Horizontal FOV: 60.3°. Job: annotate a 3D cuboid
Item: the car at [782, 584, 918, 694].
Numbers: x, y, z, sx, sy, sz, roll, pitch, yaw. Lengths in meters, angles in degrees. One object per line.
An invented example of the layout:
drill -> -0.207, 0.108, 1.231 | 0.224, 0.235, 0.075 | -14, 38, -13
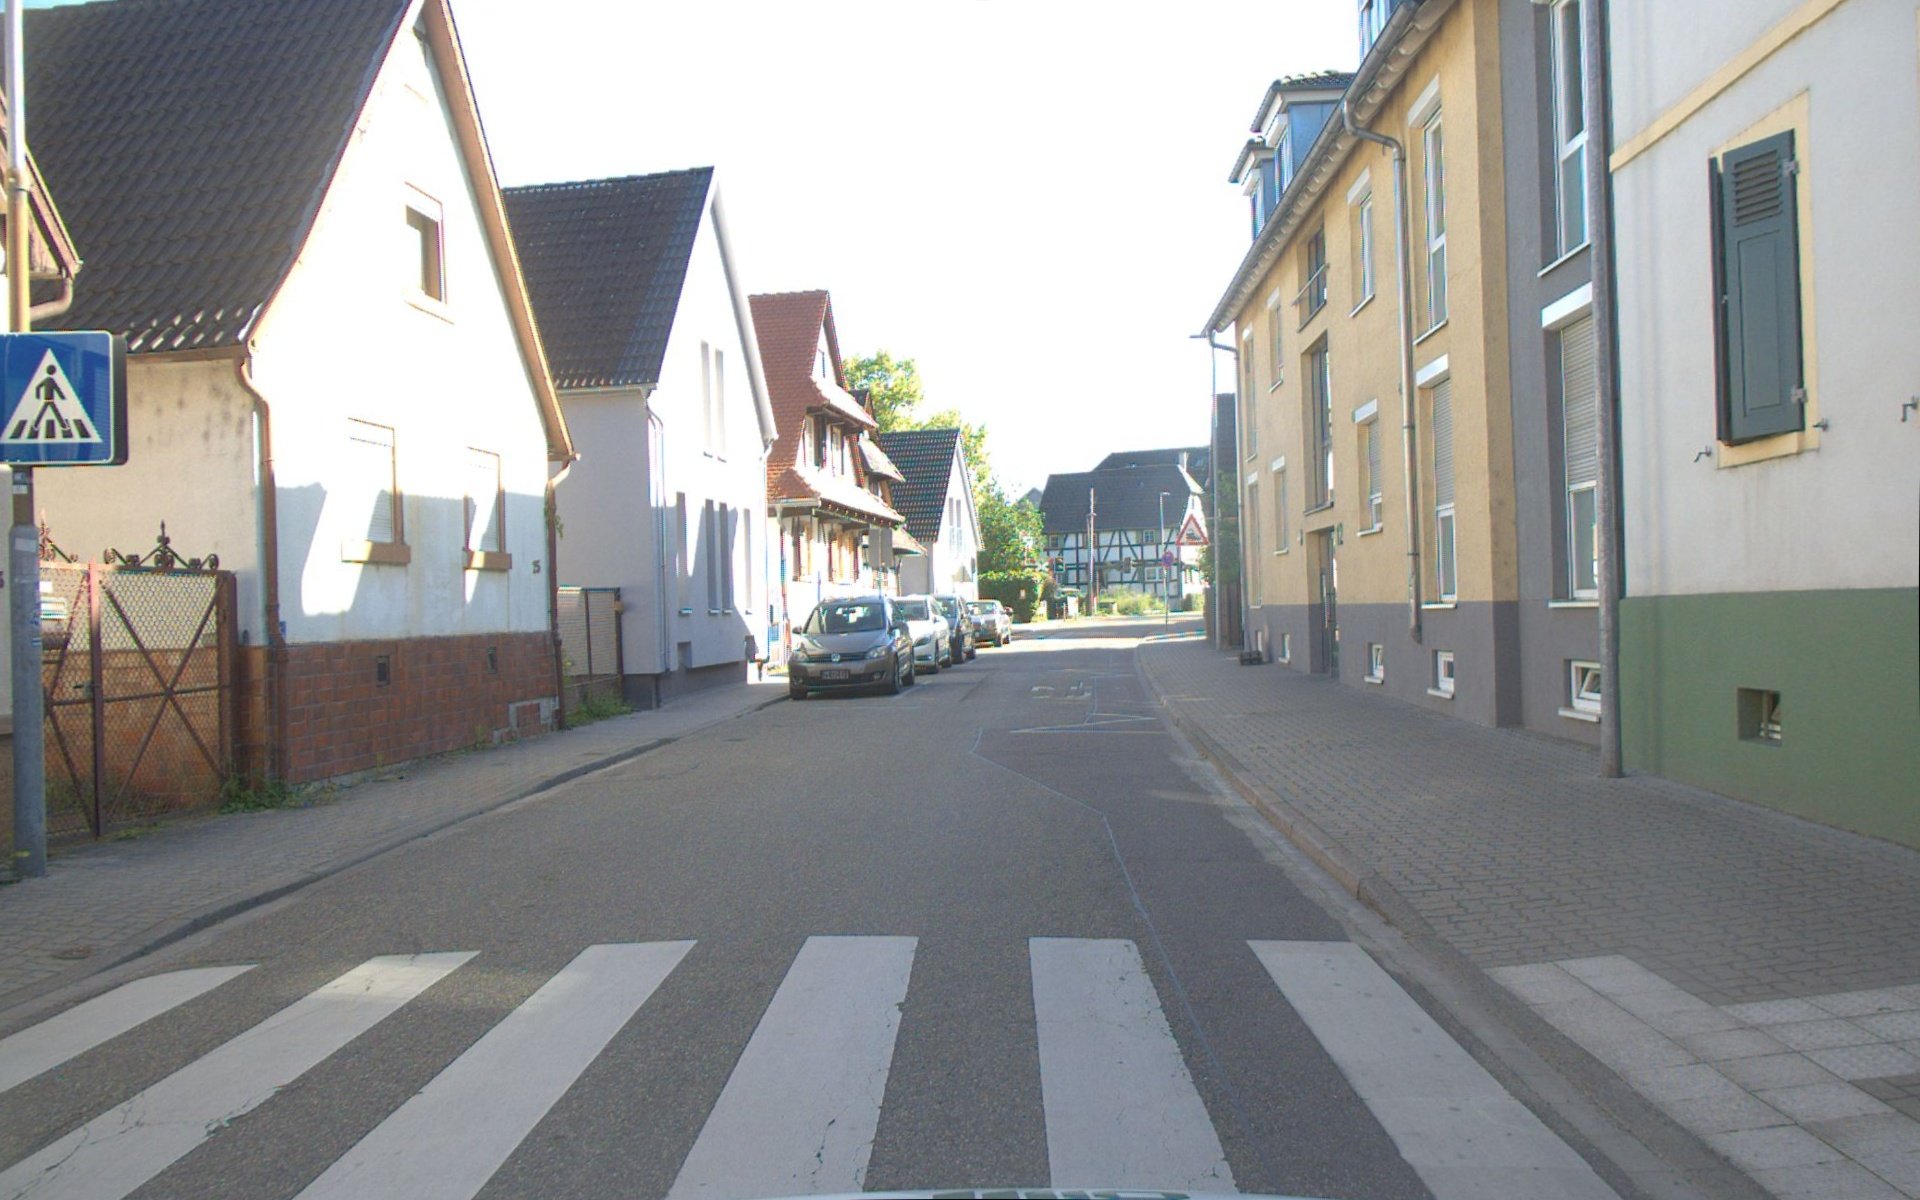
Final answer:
car -> -1.762, 0.611, 27.686 | 1.706, 1.642, 4.002 | -2, 0, 4

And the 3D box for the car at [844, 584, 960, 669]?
car -> -1.135, 0.529, 34.548 | 1.778, 1.594, 4.171 | -2, 0, 6

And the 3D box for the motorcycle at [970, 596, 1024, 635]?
motorcycle -> 1.225, 0.521, 55.030 | 0.621, 1.253, 1.966 | -3, 0, -39

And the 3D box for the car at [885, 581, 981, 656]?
car -> -0.591, 0.415, 40.042 | 1.746, 1.632, 4.364 | -2, 0, 6

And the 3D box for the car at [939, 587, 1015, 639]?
car -> 0.582, 0.396, 51.352 | 1.805, 1.430, 5.040 | -3, 0, 6
